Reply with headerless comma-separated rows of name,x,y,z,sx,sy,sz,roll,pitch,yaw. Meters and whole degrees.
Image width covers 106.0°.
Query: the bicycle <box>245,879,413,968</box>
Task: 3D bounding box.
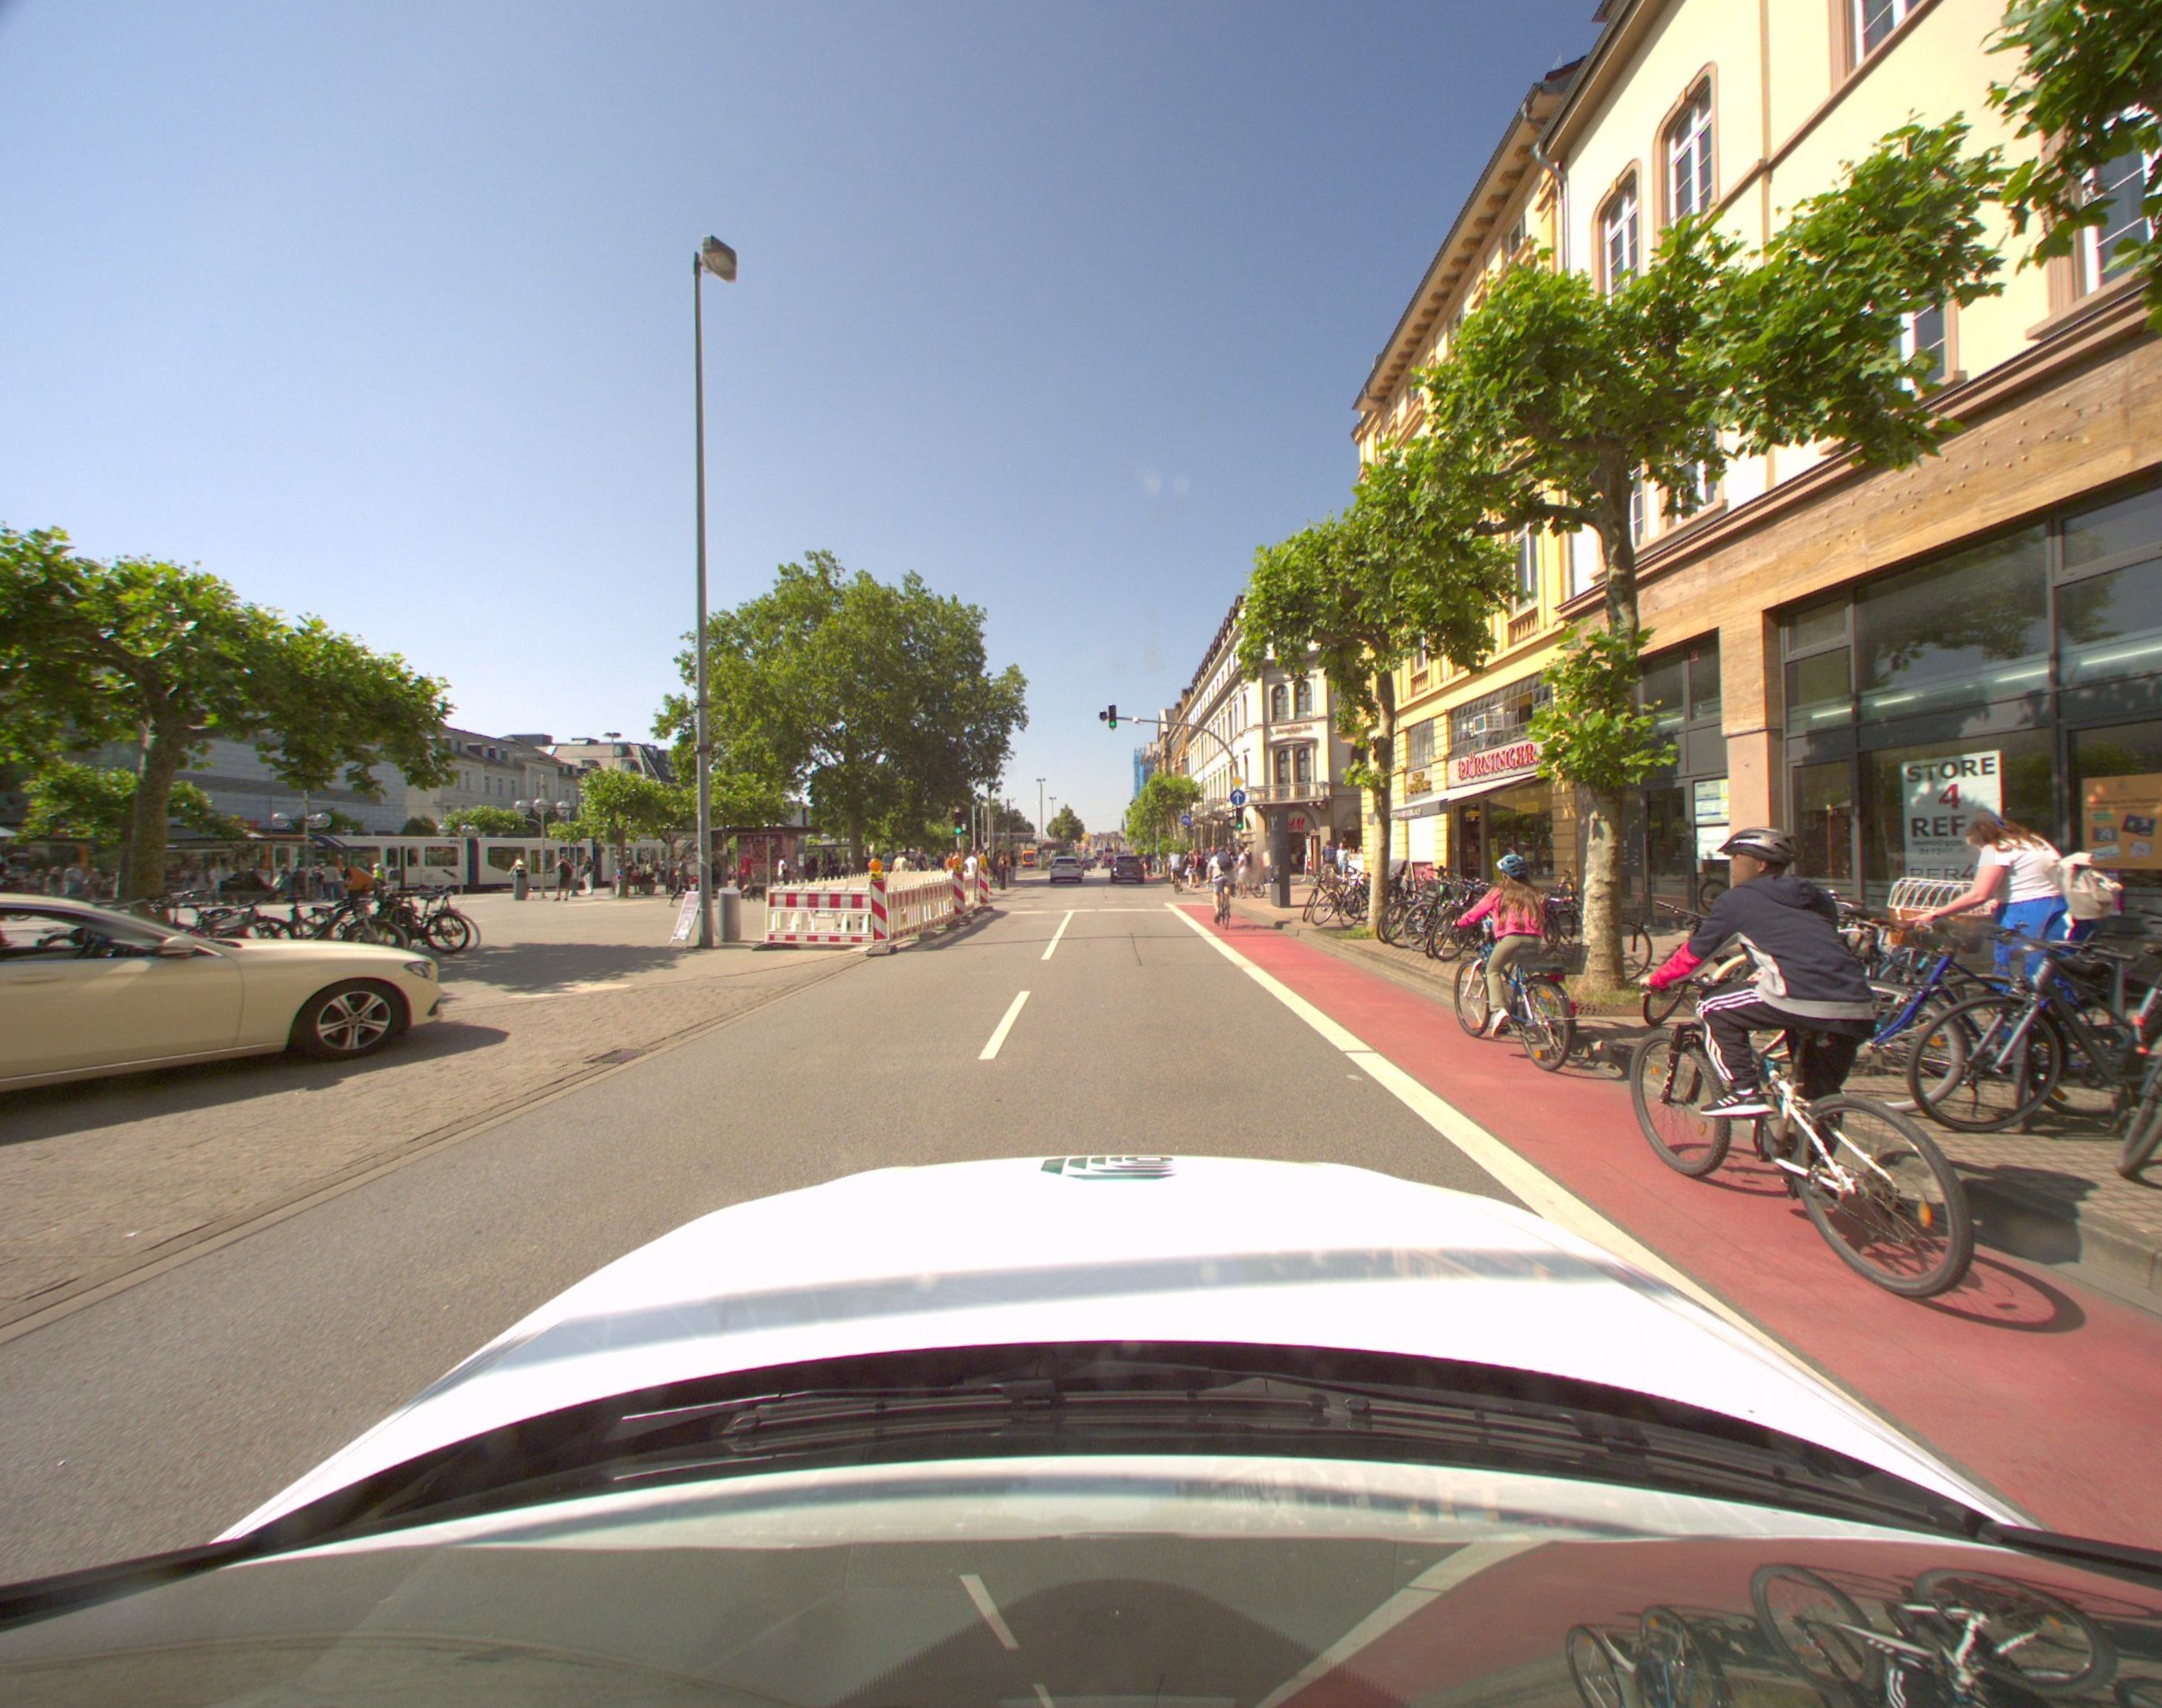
bicycle,-10.878,0.983,11.821,1.777,1.215,0.662,0,0,-2

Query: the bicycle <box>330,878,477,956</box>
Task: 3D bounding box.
bicycle,-10.874,1.004,13.117,1.777,1.185,0.662,0,0,-2

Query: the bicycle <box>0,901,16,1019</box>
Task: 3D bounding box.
bicycle,-11.292,1.031,7.646,1.777,1.132,0.562,0,0,-2

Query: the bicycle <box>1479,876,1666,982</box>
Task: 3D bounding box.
bicycle,5.287,0.796,8.827,1.642,1.095,0.607,-1,0,3

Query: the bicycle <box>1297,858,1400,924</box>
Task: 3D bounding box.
bicycle,5.412,0.727,16.490,1.938,1.257,0.701,0,0,-18

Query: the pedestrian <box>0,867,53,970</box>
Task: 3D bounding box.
pedestrian,-14.960,0.876,11.141,0.667,1.381,0.900,0,0,10

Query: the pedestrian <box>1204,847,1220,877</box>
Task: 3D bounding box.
pedestrian,7.586,0.480,47.113,0.613,1.705,0.672,-2,0,-27

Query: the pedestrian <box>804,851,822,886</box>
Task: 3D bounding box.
pedestrian,-14.418,0.782,43.813,0.627,1.810,0.618,-4,-2,21

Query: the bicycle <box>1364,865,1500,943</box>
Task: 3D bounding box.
bicycle,5.444,0.772,12.705,1.836,1.164,0.660,-1,0,3

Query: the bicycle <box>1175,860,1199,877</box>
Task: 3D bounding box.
bicycle,6.653,0.893,51.046,1.415,0.980,0.445,-2,0,2

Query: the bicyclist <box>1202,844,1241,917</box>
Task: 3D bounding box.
bicyclist,2.968,0.549,17.247,0.628,1.481,1.198,-1,0,1

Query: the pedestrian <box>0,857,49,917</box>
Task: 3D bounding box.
pedestrian,-28.140,0.860,21.560,0.799,1.561,0.605,1,-1,-4

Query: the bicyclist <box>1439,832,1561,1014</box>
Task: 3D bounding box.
bicyclist,3.298,0.511,6.464,0.598,1.357,0.721,-1,1,0

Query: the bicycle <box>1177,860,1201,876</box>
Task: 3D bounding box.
bicycle,6.819,0.889,51.504,1.415,0.980,0.445,-2,0,2

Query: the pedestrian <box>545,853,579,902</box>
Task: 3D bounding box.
pedestrian,-18.796,0.835,29.502,0.598,1.749,0.809,0,-1,33

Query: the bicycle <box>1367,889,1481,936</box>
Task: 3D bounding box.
bicycle,5.895,0.988,13.979,1.850,0.716,0.655,-1,0,-20

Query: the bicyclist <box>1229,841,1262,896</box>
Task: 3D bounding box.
bicyclist,5.522,0.490,27.325,0.577,1.797,0.848,-3,0,-33

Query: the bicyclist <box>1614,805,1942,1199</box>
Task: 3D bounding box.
bicyclist,2.832,0.545,3.398,0.696,1.440,0.790,1,0,-2

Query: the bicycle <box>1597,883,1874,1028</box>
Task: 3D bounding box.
bicycle,5.254,0.801,6.615,1.721,1.095,0.607,-1,0,3

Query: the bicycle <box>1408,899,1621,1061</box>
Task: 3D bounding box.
bicycle,3.309,0.898,6.474,0.598,0.926,2.087,-1,1,0

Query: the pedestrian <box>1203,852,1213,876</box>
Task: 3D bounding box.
pedestrian,9.543,0.767,61.227,0.626,1.791,0.612,-1,-1,1

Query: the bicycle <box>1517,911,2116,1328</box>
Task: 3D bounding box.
bicycle,2.824,0.887,3.542,0.696,1.127,2.080,1,0,-2

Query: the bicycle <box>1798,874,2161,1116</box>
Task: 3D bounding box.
bicycle,4.983,0.728,4.407,1.721,1.217,0.478,-1,0,3

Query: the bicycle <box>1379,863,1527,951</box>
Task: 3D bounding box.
bicycle,5.255,0.743,11.571,1.836,1.201,0.545,-1,0,3

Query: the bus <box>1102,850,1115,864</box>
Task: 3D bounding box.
bus,6.951,0.799,205.315,2.984,3.594,11.746,-1,-1,1

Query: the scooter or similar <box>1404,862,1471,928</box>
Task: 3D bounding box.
scooter or similar,6.660,0.743,15.248,0.422,1.178,1.224,0,0,-19

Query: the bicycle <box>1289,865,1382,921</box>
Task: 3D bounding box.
bicycle,5.417,0.819,17.371,1.777,1.122,0.562,-2,0,-2

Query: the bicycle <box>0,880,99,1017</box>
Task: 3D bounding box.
bicycle,-11.163,0.939,8.214,1.777,1.309,0.562,0,0,-2

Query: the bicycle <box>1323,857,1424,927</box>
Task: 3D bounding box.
bicycle,5.701,0.716,15.887,1.826,1.309,0.684,0,0,-19

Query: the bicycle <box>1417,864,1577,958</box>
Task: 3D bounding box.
bicycle,5.467,0.742,10.761,1.836,1.201,0.475,-1,0,3

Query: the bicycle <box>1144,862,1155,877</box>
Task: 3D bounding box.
bicycle,4.536,1.013,54.080,0.645,0.998,2.031,-1,0,1

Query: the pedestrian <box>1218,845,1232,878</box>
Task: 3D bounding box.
pedestrian,8.011,0.426,45.264,0.608,1.807,0.677,-1,-1,0

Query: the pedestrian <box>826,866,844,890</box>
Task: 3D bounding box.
pedestrian,-13.405,1.320,44.383,0.627,1.293,0.735,-1,-1,22

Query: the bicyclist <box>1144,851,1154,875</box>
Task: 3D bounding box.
bicyclist,4.529,0.613,54.295,0.645,1.551,0.818,-1,0,1

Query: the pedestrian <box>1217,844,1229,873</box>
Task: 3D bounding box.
pedestrian,8.971,0.301,51.404,0.673,1.791,0.612,-1,-1,1

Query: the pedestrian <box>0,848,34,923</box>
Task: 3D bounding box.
pedestrian,-26.238,0.763,19.764,0.800,1.799,0.605,1,-1,-5

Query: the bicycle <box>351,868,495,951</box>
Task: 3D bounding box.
bicycle,-11.154,0.923,13.847,1.777,1.348,0.740,1,0,-2

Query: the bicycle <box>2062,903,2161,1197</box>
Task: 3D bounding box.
bicycle,5.020,0.757,3.211,1.721,1.109,0.403,-1,0,3

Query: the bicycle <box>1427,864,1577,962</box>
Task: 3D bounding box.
bicycle,5.327,0.741,10.350,1.642,1.201,0.475,-1,0,3

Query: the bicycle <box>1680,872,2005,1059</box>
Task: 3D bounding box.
bicycle,5.197,0.742,5.619,1.721,1.217,0.478,-1,0,3

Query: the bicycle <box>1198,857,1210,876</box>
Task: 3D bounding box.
bicycle,7.635,0.789,50.437,0.396,1.114,1.433,-2,1,22

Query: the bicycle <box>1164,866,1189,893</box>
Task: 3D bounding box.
bicycle,3.863,1.021,33.034,0.771,1.006,2.330,-1,0,2

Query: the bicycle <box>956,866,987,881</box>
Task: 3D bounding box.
bicycle,-7.587,1.324,56.421,2.082,0.980,0.682,-1,-1,-10

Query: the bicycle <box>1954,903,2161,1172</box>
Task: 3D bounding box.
bicycle,5.008,0.787,3.625,1.721,1.109,0.403,-1,0,3

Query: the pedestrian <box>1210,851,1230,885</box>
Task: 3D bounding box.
pedestrian,7.839,0.768,45.979,0.608,1.805,0.677,-13,-1,-1

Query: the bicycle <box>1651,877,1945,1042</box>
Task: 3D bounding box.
bicycle,5.321,0.769,6.103,1.721,1.162,0.478,-1,0,3

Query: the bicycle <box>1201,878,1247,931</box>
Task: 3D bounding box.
bicycle,2.972,1.023,17.111,0.628,0.980,2.089,-1,0,1

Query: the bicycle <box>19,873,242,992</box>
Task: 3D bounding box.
bicycle,-11.040,0.891,9.502,1.777,1.309,0.662,0,0,-2

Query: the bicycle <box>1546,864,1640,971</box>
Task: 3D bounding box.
bicycle,6.320,0.737,10.136,0.469,1.188,1.660,-1,0,13

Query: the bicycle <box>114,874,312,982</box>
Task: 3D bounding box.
bicycle,-11.080,0.926,10.436,1.777,1.309,0.662,0,0,-2

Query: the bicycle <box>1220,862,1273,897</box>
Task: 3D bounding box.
bicycle,5.540,0.850,27.328,0.604,1.082,1.820,-3,0,-33

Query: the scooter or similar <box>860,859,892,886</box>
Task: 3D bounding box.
scooter or similar,-10.994,0.979,43.708,1.264,1.421,1.045,-1,-1,32

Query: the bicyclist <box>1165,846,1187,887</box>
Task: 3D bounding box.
bicyclist,3.848,0.496,33.017,0.771,1.635,0.851,-1,0,2

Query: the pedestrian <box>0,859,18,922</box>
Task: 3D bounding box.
pedestrian,-30.630,1.021,22.820,0.799,1.749,0.605,1,-1,-4

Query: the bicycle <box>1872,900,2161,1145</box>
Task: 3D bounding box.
bicycle,5.056,0.803,4.044,1.721,1.109,0.478,-1,0,3

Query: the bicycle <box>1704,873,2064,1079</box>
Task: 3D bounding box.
bicycle,4.997,0.739,5.132,1.721,1.217,0.478,-1,0,3

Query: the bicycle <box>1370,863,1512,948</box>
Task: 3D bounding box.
bicycle,5.306,0.749,12.077,1.836,1.201,0.609,-1,0,3
